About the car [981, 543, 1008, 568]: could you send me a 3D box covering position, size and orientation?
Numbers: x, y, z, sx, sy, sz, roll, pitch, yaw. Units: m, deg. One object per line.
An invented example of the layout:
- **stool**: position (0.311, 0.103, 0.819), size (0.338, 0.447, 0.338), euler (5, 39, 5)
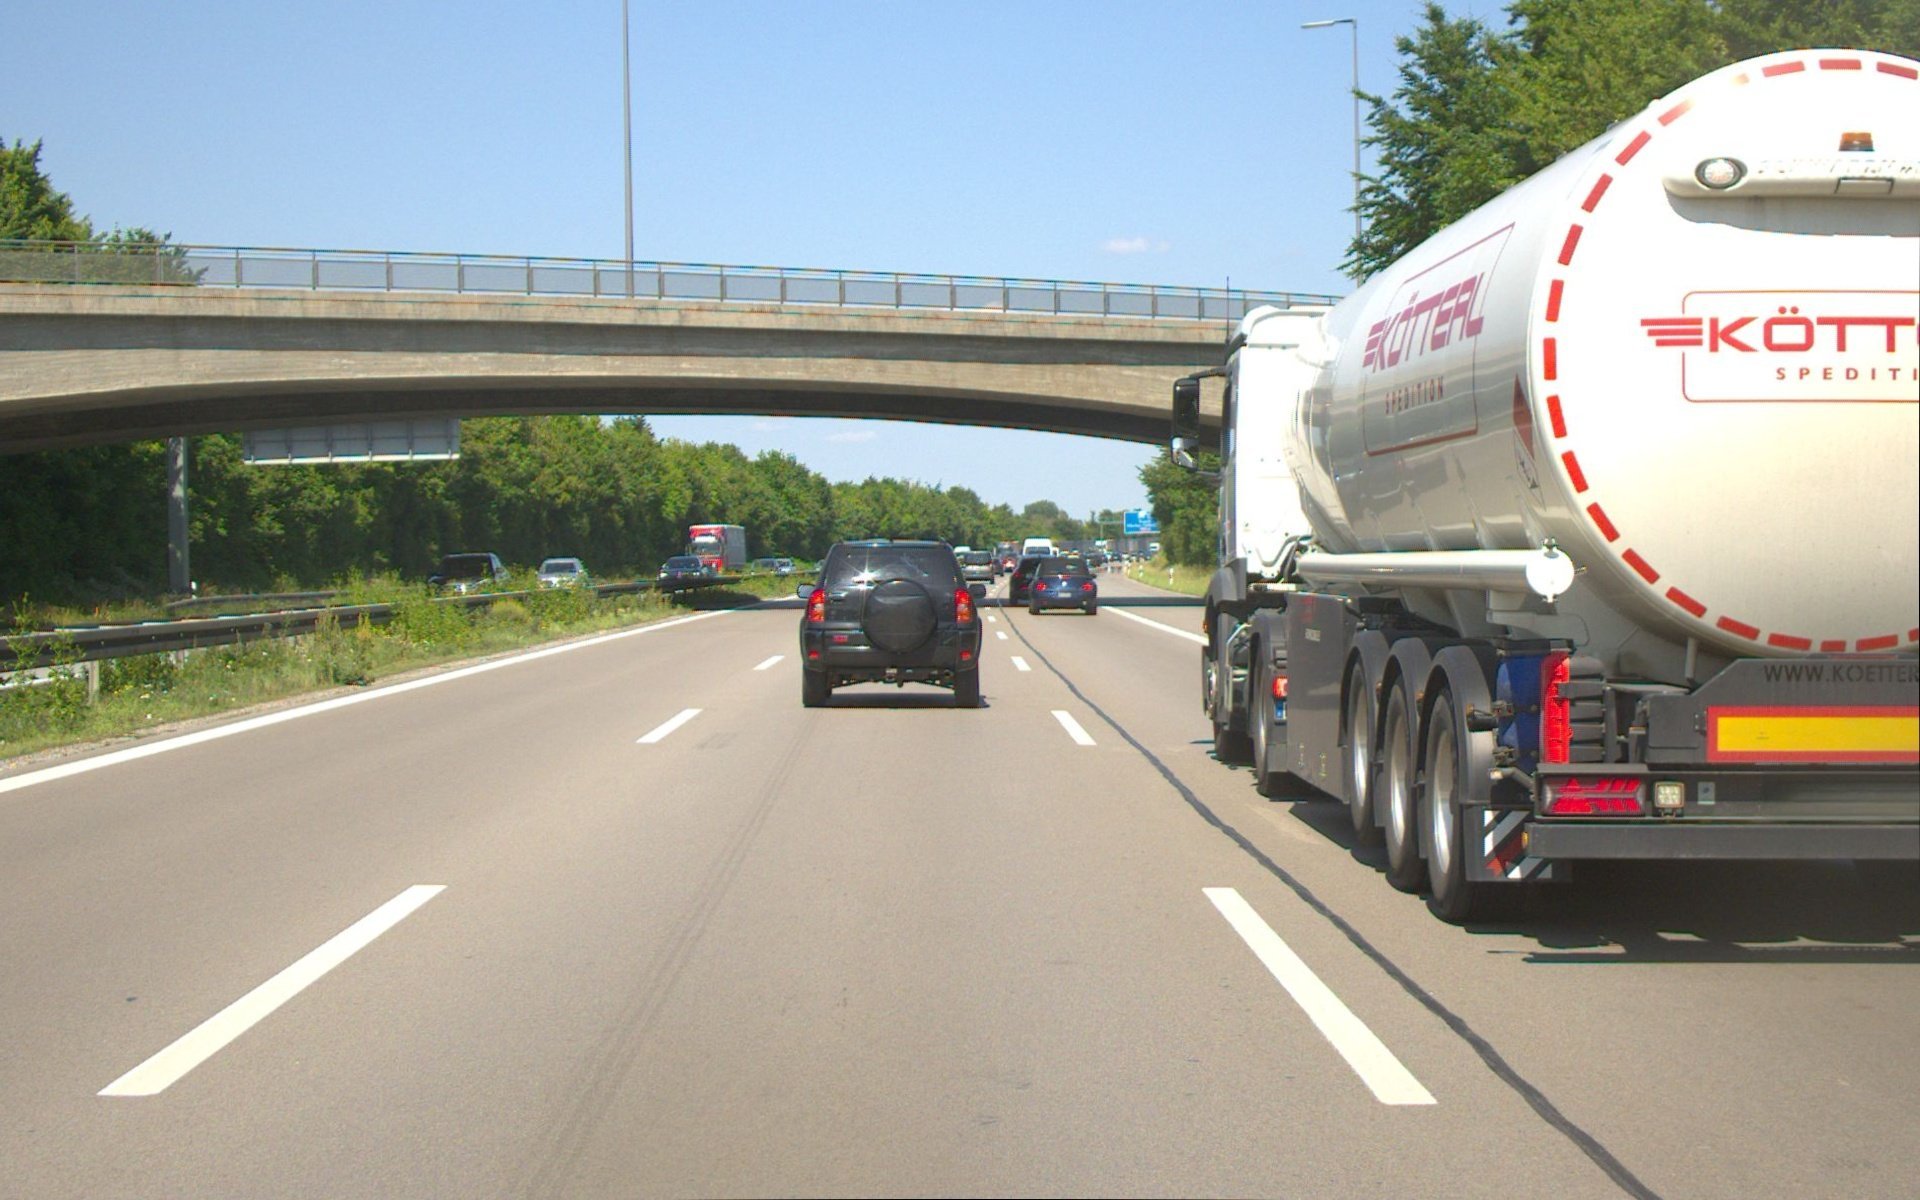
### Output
- **car**: position (2.523, -3.289, 253.290), size (1.812, 1.740, 4.000), euler (-1, 1, -1)

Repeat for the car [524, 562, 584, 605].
- **car**: position (-15.658, -0.625, 132.750), size (1.899, 1.635, 4.000), euler (-1, 0, -1)

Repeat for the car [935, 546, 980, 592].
- **car**: position (-0.131, -1.413, 155.959), size (1.993, 2.007, 4.768), euler (-1, 1, 0)

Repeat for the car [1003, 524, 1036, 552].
- **car**: position (3.723, -3.931, 217.087), size (1.812, 1.740, 4.001), euler (-1, 1, -2)

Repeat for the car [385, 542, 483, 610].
- **car**: position (-13.413, -0.640, 87.812), size (1.797, 1.661, 4.128), euler (-1, 1, 1)

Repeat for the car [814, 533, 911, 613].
- **car**: position (-2.172, -0.615, 77.623), size (1.993, 1.700, 4.336), euler (-1, 1, 0)

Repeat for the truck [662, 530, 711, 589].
- **truck**: position (-19.541, -2.933, 245.806), size (2.785, 4.047, 6.209), euler (-3, 1, 1)

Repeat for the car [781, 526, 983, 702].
- **car**: position (-0.813, 0.112, 34.770), size (1.906, 1.659, 4.000), euler (-1, 1, -2)

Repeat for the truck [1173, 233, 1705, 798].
- **truck**: position (3.070, -0.546, 23.843), size (2.638, 3.363, 6.488), euler (0, 1, -1)

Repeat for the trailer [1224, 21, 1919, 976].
- **trailer**: position (3.181, -0.431, 17.788), size (2.648, 3.378, 11.152), euler (0, 1, 0)

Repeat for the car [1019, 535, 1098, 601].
- **car**: position (2.577, -0.819, 90.657), size (1.993, 1.678, 4.000), euler (-1, 0, 1)

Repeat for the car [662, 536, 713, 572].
- **car**: position (-11.894, -2.040, 150.406), size (1.860, 1.522, 4.751), euler (-1, 1, 0)

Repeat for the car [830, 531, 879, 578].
- **car**: position (-4.574, -1.976, 149.851), size (1.993, 2.007, 4.950), euler (-1, 1, 0)

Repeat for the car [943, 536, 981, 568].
- **car**: position (0.115, -2.680, 190.846), size (1.993, 1.744, 4.205), euler (-1, 1, -1)

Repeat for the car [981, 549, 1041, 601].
- **car**: position (1.609, -0.787, 109.825), size (1.842, 1.606, 4.000), euler (-1, 0, 0)
